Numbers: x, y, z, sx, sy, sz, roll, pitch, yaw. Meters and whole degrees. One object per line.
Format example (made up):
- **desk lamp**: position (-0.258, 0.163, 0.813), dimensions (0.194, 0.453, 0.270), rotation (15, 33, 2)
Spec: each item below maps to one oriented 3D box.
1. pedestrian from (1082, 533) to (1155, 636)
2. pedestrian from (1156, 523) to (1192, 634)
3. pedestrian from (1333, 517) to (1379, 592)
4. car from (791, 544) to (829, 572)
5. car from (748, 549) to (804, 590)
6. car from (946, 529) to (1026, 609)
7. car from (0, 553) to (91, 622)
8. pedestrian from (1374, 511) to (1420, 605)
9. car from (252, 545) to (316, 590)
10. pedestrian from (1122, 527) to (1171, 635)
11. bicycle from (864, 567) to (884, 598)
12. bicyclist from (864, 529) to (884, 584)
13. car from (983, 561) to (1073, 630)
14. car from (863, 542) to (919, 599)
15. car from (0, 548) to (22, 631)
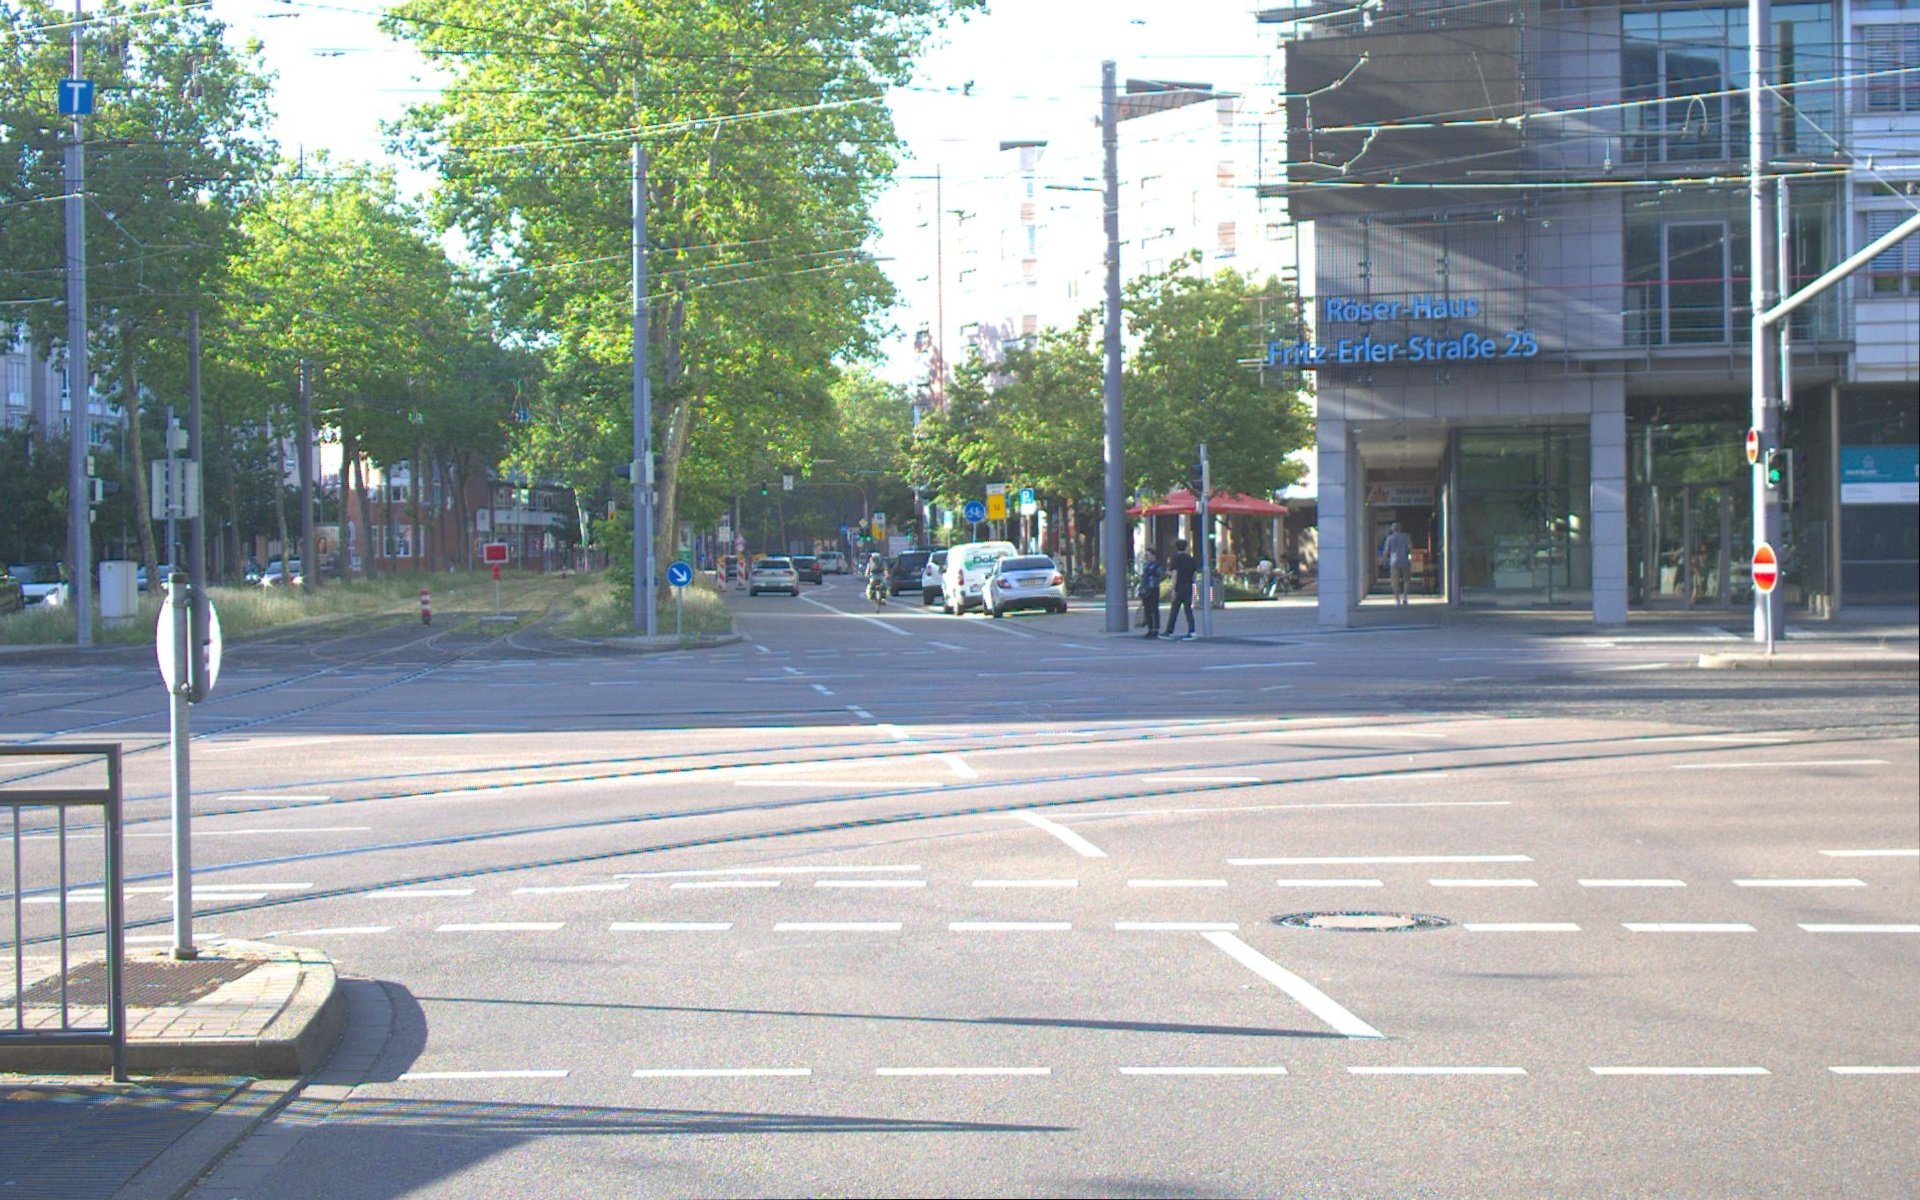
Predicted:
- **pedestrian**: position (3.041, -0.295, 66.038), dimensions (1.342, 1.944, 1.011), rotation (-1, 0, -1)
- **pedestrian**: position (3.907, -0.389, 62.892), dimensions (0.586, 2.007, 0.620), rotation (1, 0, 0)
- **pedestrian**: position (11.686, -1.344, 101.554), dimensions (1.313, 2.182, 1.170), rotation (1, 0, 6)
- **car**: position (-7.449, -2.084, 170.564), dimensions (1.763, 1.399, 4.297), rotation (0, 1, -4)
- **car**: position (-6.752, -1.145, 126.494), dimensions (1.748, 1.413, 4.000), rotation (0, 2, 1)
- **car**: position (0.648, -0.810, 89.456), dimensions (1.993, 2.007, 4.000), rotation (1, 0, -1)
- **car**: position (-22.024, -0.305, 82.613), dimensions (1.676, 1.602, 4.001), rotation (1, 0, -6)
- **pedestrian**: position (9.551, -0.913, 75.183), dimensions (0.869, 2.007, 0.793), rotation (1, -1, -1)
- **car**: position (-27.611, -1.356, 140.564), dimensions (1.844, 1.777, 4.000), rotation (-1, 1, -1)
- **pedestrian**: position (3.472, -0.355, 64.203), dimensions (0.849, 2.007, 0.708), rotation (1, 0, 0)
- **bicycle**: position (-2.282, -0.464, 90.963), dimensions (0.490, 0.785, 1.862), rotation (0, 0, -1)
- **bicyclist**: position (-2.276, -1.143, 90.941), dimensions (0.486, 1.435, 0.615), rotation (1, -1, -1)
- **car**: position (1.613, -0.125, 82.720), dimensions (2.029, 1.590, 4.000), rotation (1, 0, -1)
- **car**: position (-2.536, -1.082, 126.573), dimensions (1.993, 2.007, 4.000), rotation (1, 0, -1)
- **car**: position (-21.640, -0.218, 74.672), dimensions (1.822, 1.784, 4.001), rotation (-1, 1, -7)
